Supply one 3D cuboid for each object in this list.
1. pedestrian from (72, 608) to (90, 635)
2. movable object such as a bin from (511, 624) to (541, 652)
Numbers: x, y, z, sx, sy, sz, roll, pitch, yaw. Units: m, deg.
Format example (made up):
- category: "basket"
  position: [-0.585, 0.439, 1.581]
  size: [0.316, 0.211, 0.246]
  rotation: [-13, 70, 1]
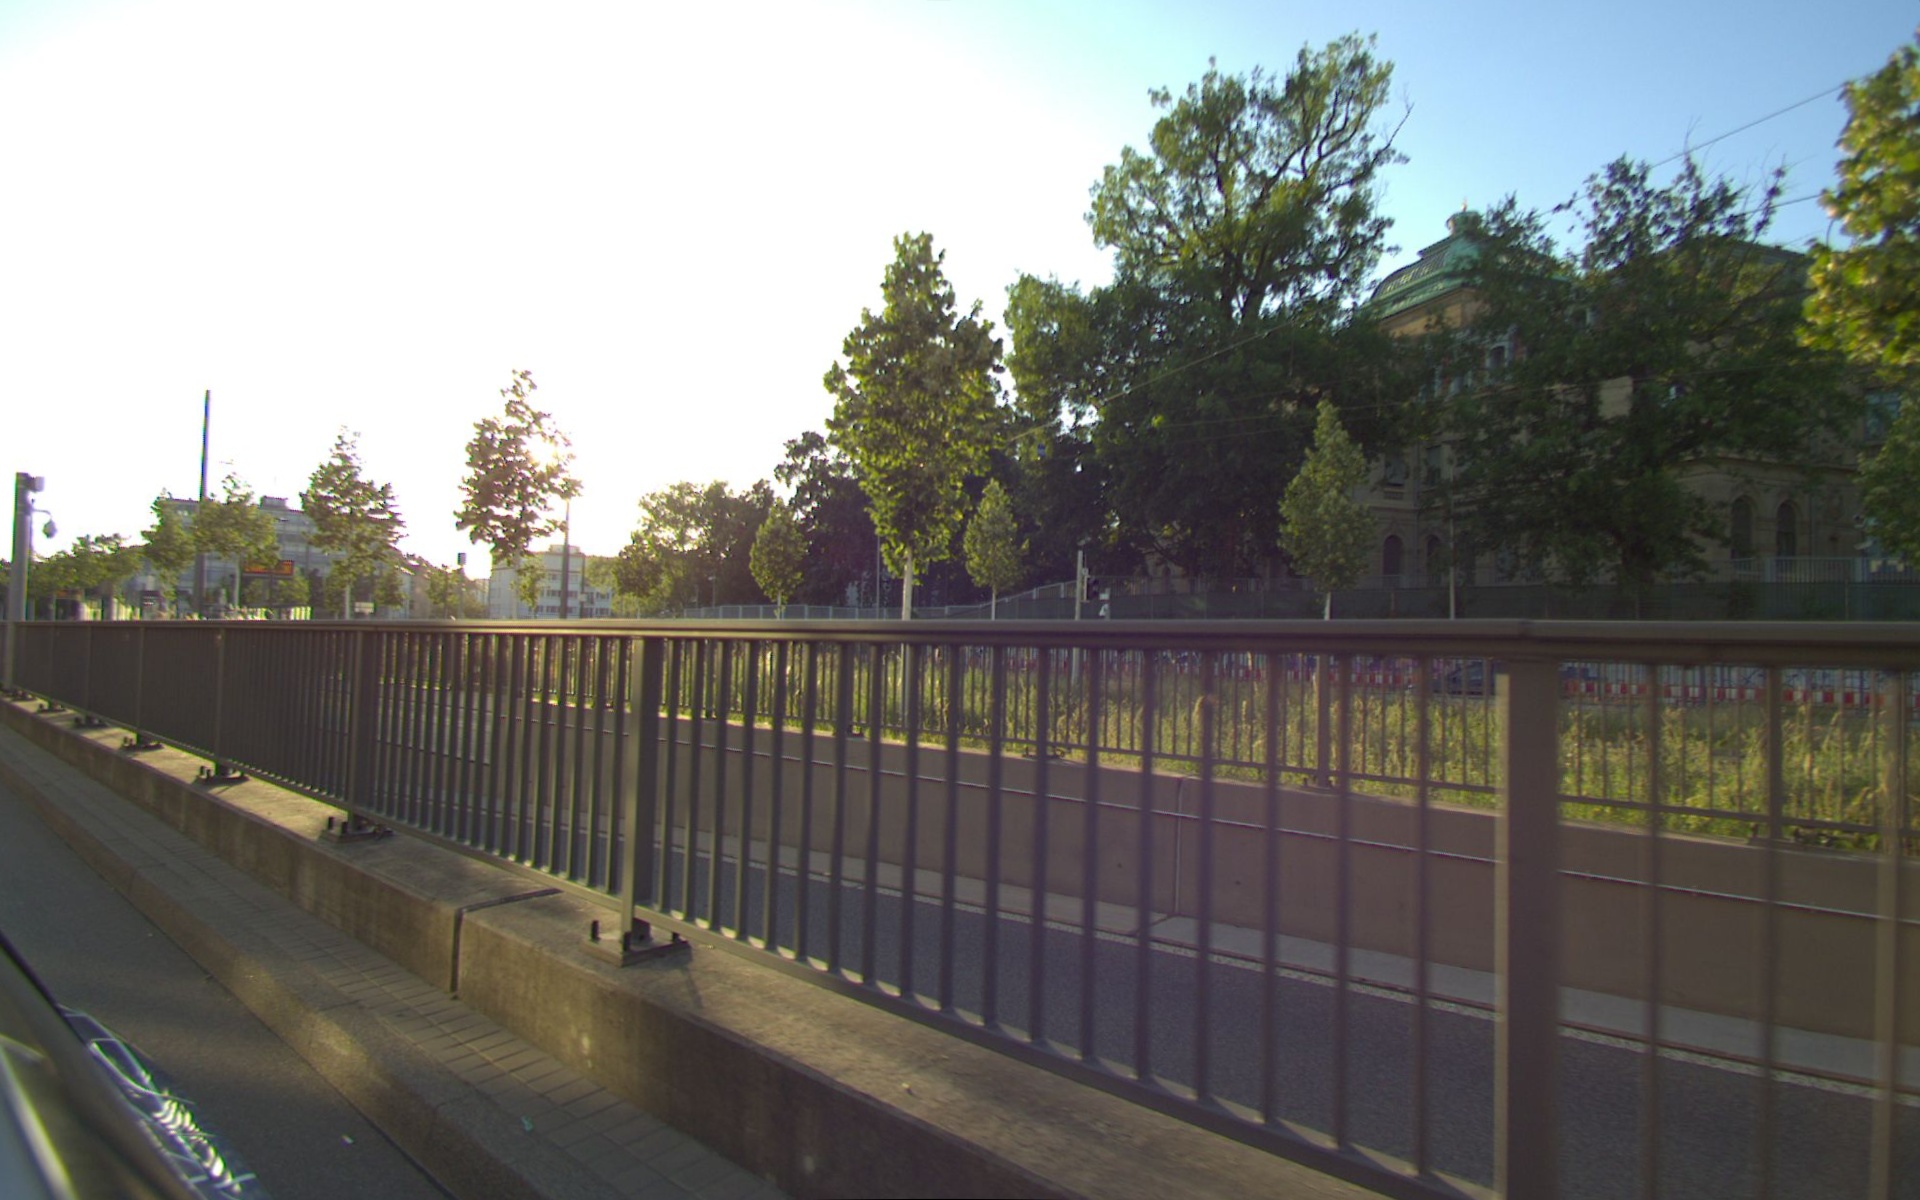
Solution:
- category: "pedestrian"
  position: [-57.482, 1.422, 66.171]
  size: [0.633, 1.742, 0.630]
  rotation: [-1, -3, 29]
- category: "movable object such as a bin"
  position: [-43.951, 3.869, 102.507]
  size: [1.967, 2.727, 4.010]
  rotation: [2, -3, -35]
